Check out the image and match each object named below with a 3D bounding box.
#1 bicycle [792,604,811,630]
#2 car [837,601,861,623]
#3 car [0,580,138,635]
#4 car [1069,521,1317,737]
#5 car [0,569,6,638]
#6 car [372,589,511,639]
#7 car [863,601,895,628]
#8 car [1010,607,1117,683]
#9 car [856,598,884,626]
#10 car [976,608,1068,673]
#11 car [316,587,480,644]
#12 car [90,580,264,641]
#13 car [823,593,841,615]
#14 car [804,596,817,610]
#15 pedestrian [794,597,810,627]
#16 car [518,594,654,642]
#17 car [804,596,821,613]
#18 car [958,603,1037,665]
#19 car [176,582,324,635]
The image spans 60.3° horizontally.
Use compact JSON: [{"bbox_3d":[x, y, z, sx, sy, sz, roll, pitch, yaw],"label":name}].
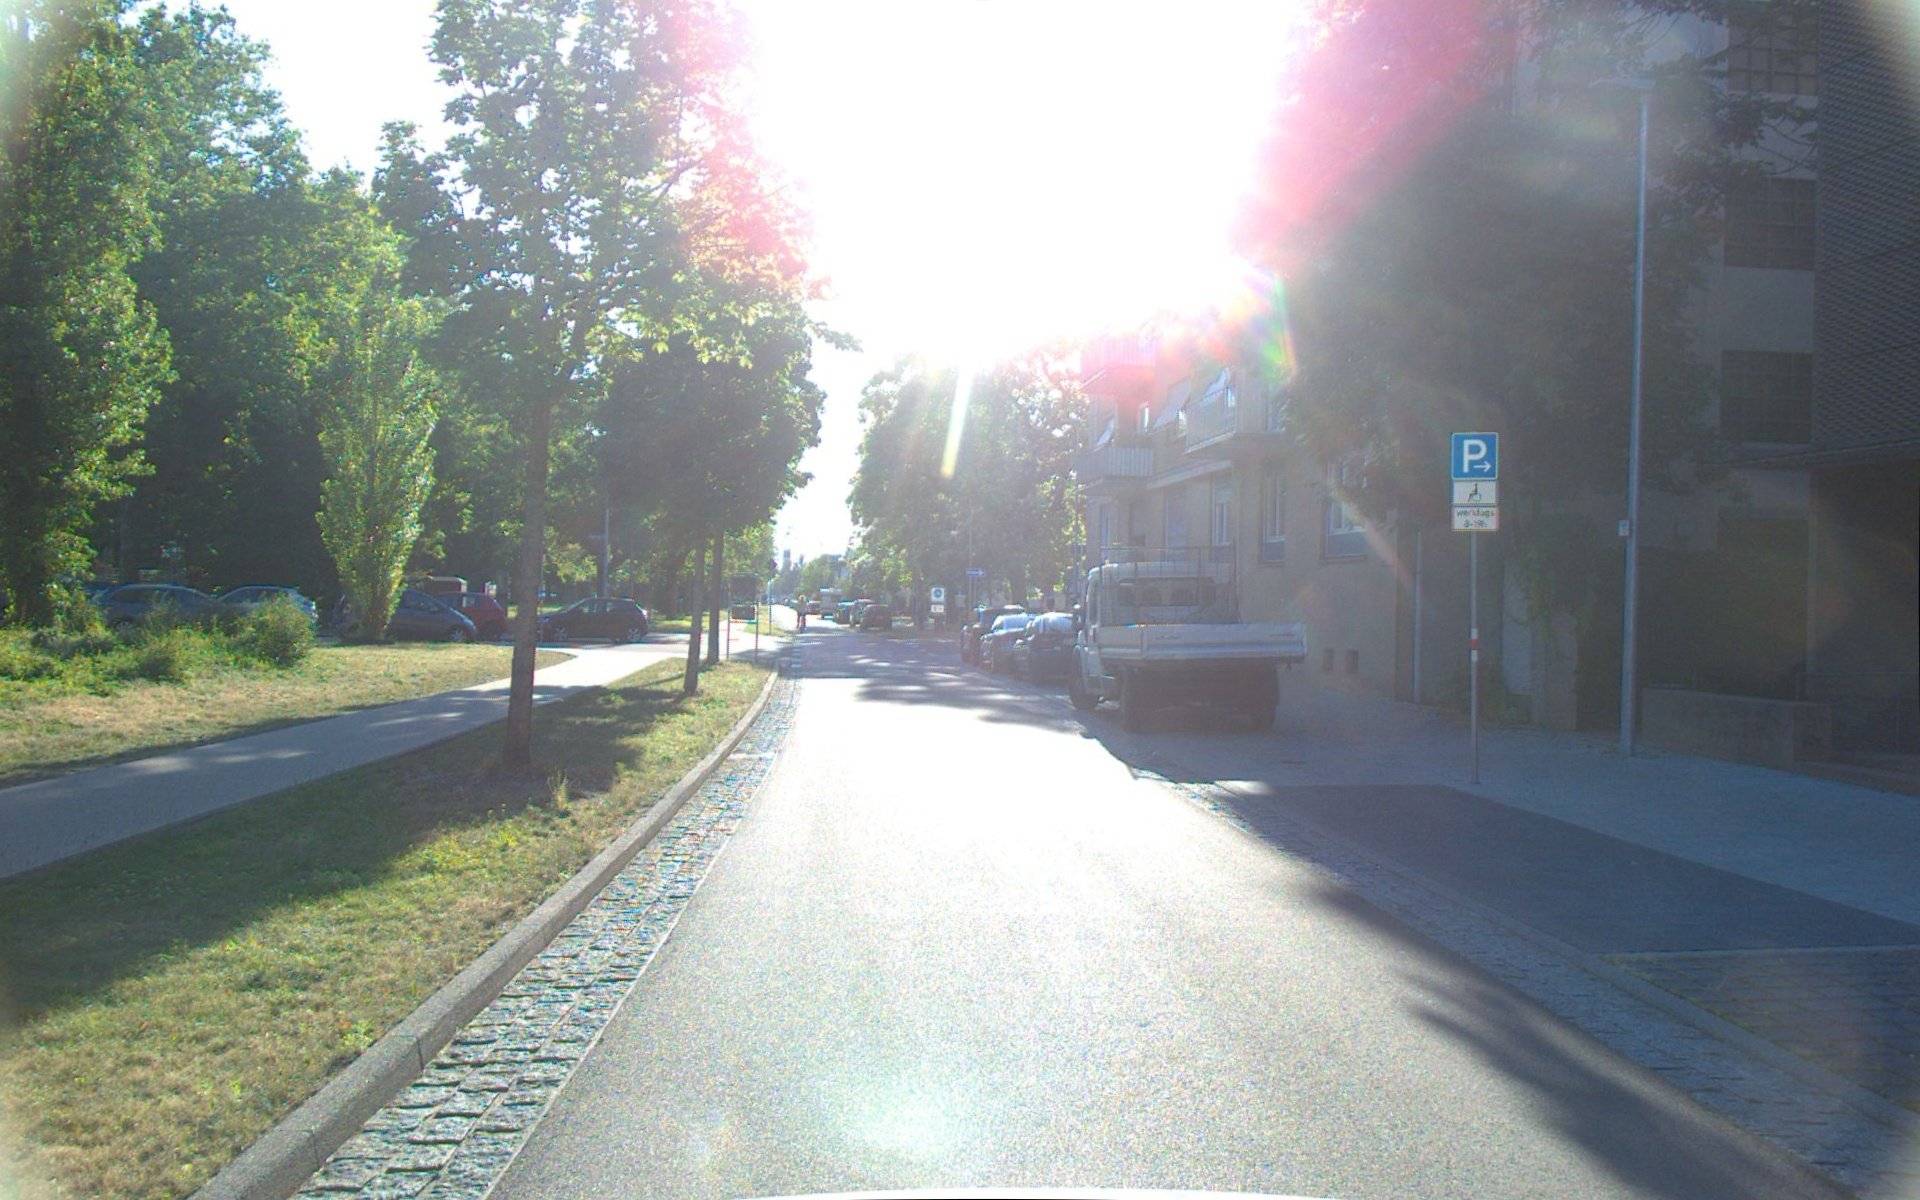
[{"bbox_3d":[-7.639,0.798,79.746,0.674,1.223,2.342,2,0,-1],"label":"bicycle"},{"bbox_3d":[-8.479,0.903,126.541,1.758,1.536,3.997,2,0,-4],"label":"car"},{"bbox_3d":[-25.374,0.205,46.536,3.938,1.445,1.757,2,0,-27],"label":"car"},{"bbox_3d":[3.021,0.338,23.043,2.168,2.574,6.142,-1,0,-4],"label":"car"},{"bbox_3d":[-25.638,0.024,39.791,4.473,1.715,1.757,2,0,-26],"label":"car"},{"bbox_3d":[-16.155,0.441,51.596,3.868,1.445,1.755,2,0,-28],"label":"car"},{"bbox_3d":[-4.782,0.859,98.012,1.757,1.536,3.999,2,0,-2],"label":"car"},{"bbox_3d":[2.092,0.892,34.227,1.658,1.466,3.546,0,0,-6],"label":"car"},{"bbox_3d":[-6.120,0.790,111.944,1.758,1.754,3.997,2,0,-4],"label":"car"},{"bbox_3d":[1.445,0.936,39.765,1.658,1.466,4.099,0,0,-6],"label":"car"},{"bbox_3d":[-15.361,0.424,45.254,3.946,1.445,1.753,2,0,-31],"label":"car"},{"bbox_3d":[-20.152,0.279,42.602,3.943,1.445,1.755,2,0,-29],"label":"car"},{"bbox_3d":[-12.677,0.387,163.957,1.758,2.034,3.997,2,0,-4],"label":"car"},{"bbox_3d":[-23.255,0.456,256.892,1.955,2.004,3.996,2,0,-5],"label":"car"},{"bbox_3d":[-7.619,0.574,79.653,0.674,1.459,1.024,2,0,-2],"label":"pedestrian"},{"bbox_3d":[-12.140,0.584,53.675,3.948,1.445,1.752,2,0,-32],"label":"car"},{"bbox_3d":[-18.262,0.571,205.196,1.955,2.004,3.996,2,0,-5],"label":"car"},{"bbox_3d":[0.971,0.880,45.216,1.658,1.592,4.099,0,0,-6],"label":"car"},{"bbox_3d":[-20.986,0.262,48.904,3.938,1.445,1.757,2,0,-27],"label":"car"}]
